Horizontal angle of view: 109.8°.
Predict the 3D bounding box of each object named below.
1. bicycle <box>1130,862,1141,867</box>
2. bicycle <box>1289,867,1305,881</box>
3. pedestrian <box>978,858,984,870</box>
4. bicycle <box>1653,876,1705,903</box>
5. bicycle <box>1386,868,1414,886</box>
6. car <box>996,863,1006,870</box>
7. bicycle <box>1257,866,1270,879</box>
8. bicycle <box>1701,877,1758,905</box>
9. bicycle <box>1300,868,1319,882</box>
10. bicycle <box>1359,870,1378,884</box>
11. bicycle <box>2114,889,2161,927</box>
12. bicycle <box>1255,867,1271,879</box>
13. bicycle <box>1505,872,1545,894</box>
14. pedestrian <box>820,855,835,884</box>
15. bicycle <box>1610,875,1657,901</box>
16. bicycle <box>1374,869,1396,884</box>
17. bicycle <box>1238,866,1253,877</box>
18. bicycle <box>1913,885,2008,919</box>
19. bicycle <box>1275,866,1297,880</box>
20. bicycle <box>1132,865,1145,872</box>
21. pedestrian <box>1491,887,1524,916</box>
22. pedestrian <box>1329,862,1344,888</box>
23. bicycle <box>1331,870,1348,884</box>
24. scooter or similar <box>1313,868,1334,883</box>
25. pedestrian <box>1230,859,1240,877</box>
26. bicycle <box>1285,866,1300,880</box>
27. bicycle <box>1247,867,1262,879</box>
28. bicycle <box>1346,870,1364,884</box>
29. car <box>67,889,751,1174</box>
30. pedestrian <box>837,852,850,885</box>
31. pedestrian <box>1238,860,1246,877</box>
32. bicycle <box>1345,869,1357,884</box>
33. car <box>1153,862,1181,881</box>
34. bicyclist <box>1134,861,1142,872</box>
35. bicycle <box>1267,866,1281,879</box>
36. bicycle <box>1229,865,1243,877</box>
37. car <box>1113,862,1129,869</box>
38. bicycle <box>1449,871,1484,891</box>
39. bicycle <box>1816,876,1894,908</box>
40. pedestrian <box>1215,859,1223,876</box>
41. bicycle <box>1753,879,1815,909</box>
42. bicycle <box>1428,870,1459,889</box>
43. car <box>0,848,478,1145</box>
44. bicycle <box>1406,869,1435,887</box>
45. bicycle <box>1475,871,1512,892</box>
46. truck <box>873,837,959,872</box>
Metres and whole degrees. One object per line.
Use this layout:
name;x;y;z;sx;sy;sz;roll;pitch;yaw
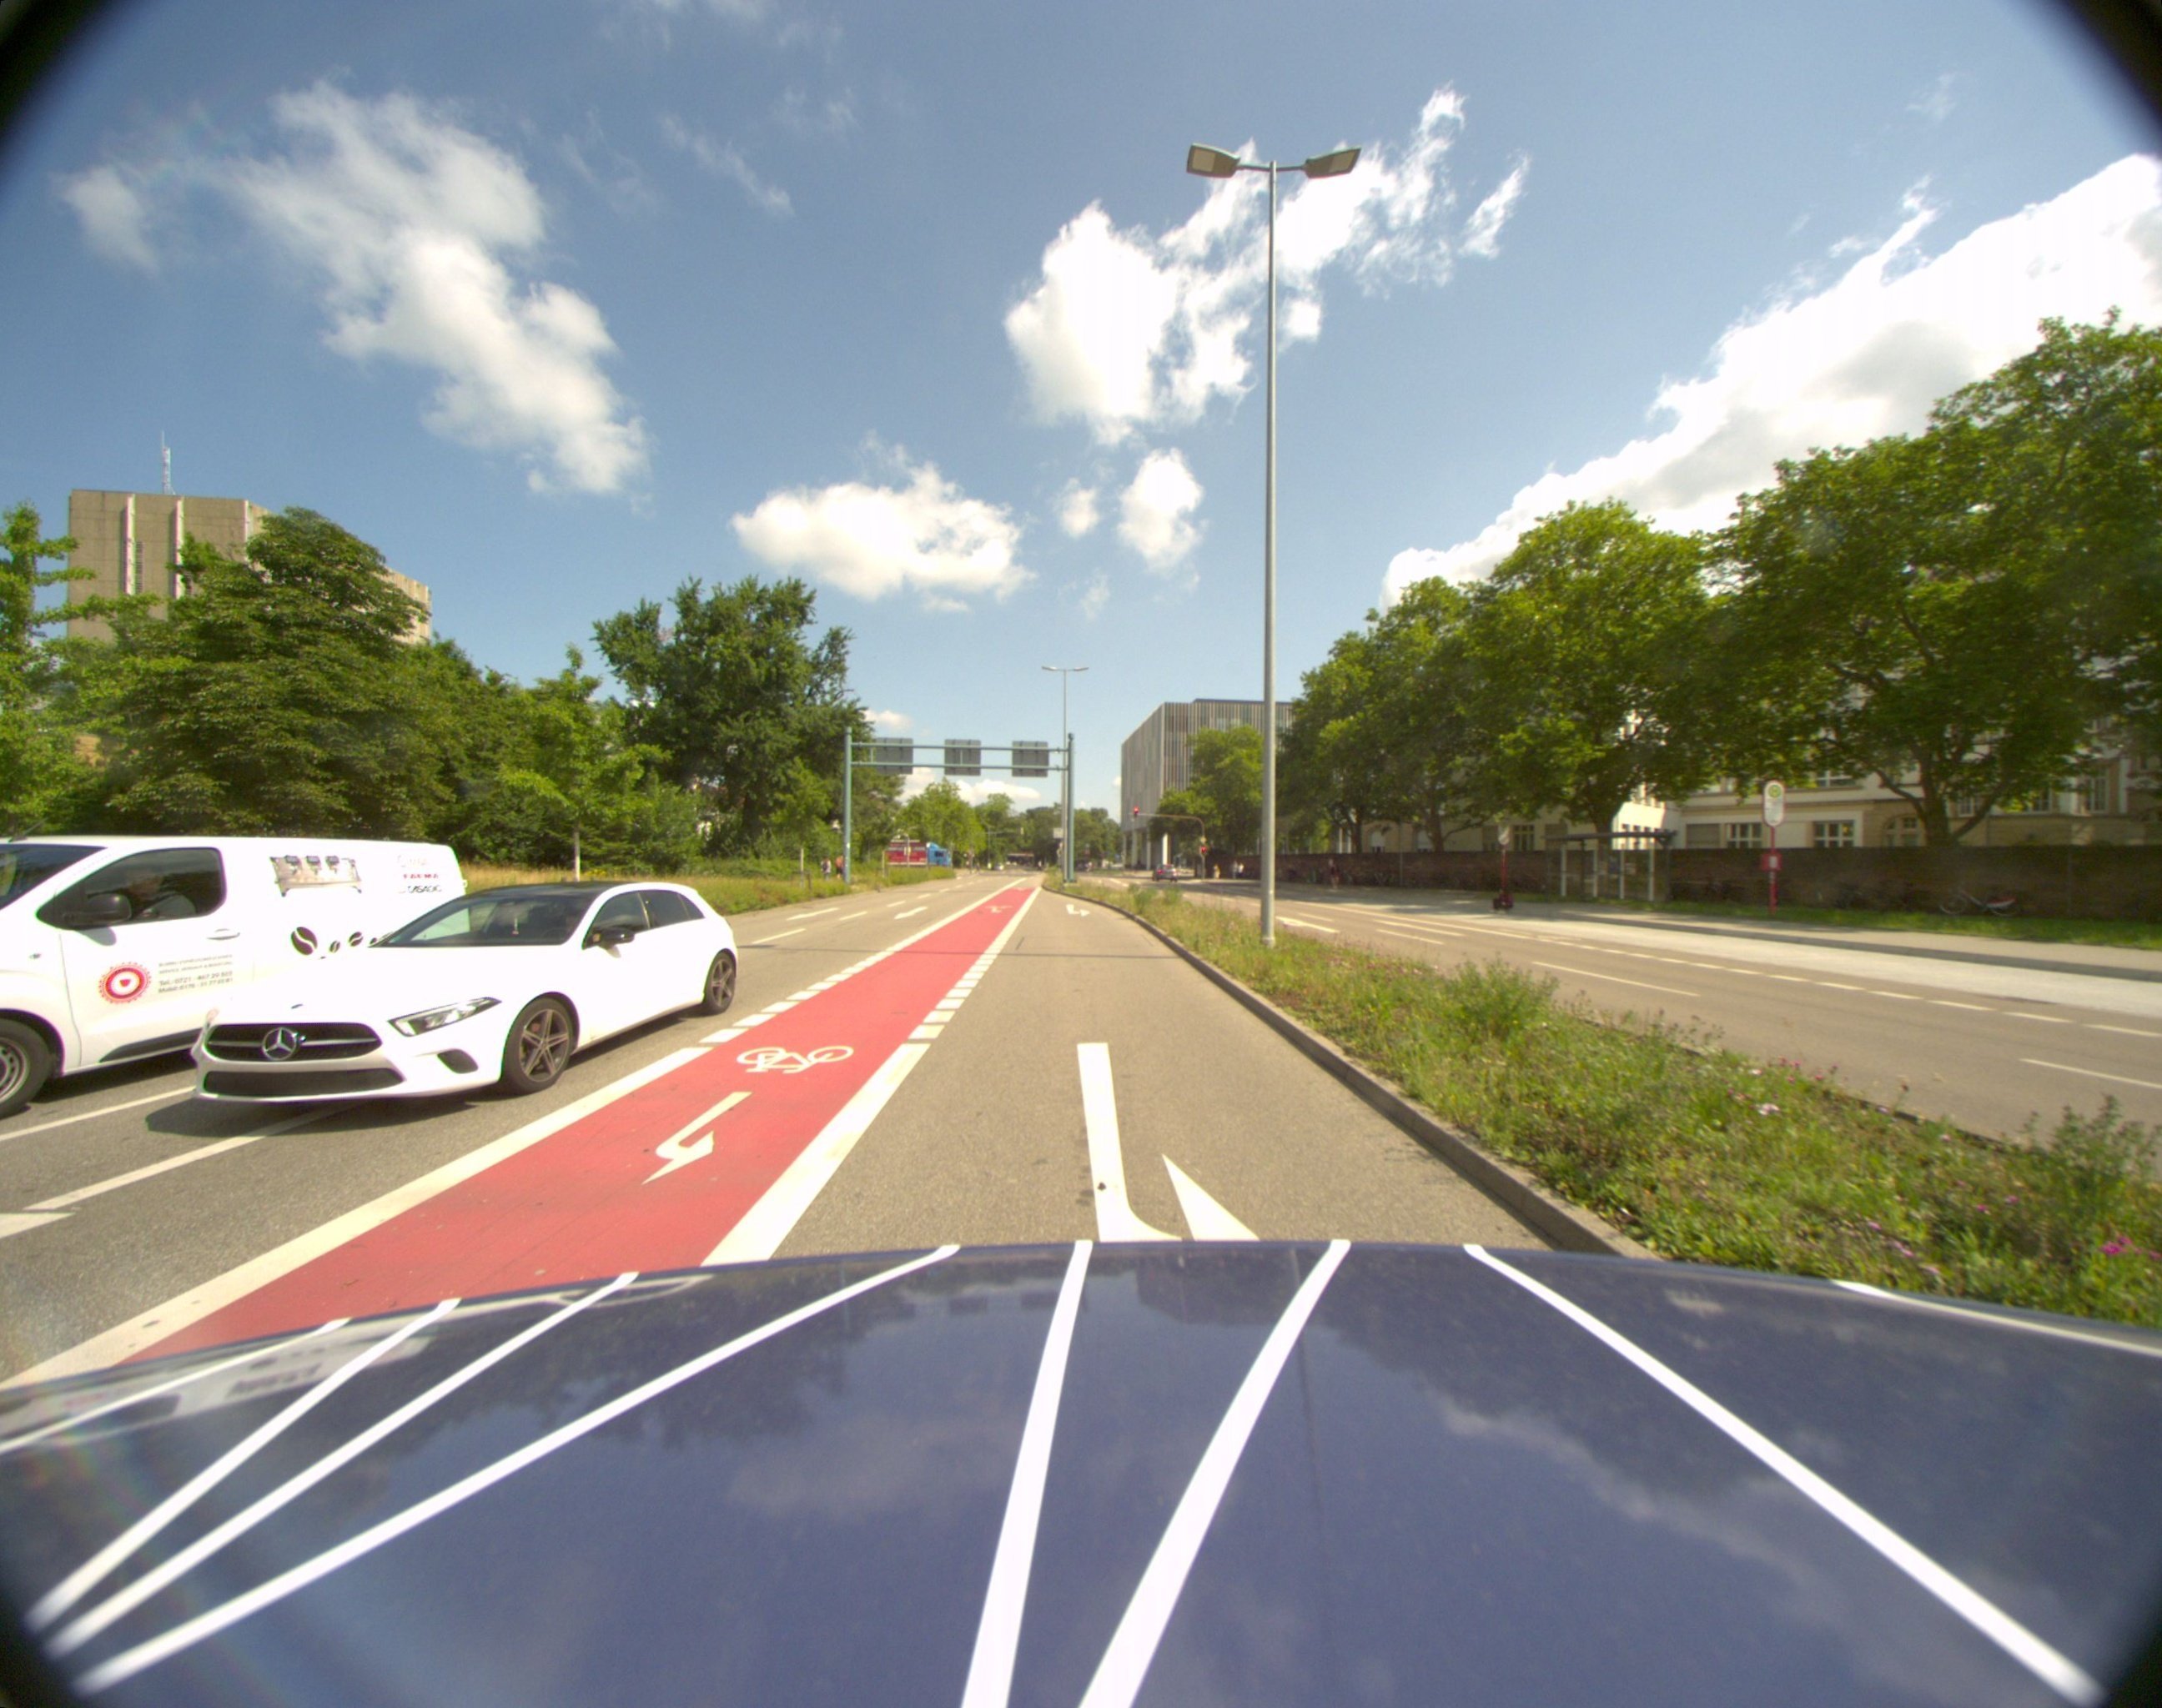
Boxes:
bicycle;11.320;2.245;158.897;2.218;1.090;0.722;1;0;-10
bicycle;16.976;1.549;59.769;0.395;1.042;1.879;0;0;-11
pedestrian;-13.870;1.437;105.349;0.741;1.640;0.639;0;0;3
bicycle;25.211;1.472;32.060;0.585;1.067;1.628;0;0;-23
bicycle;19.850;1.404;47.336;0.584;1.067;1.753;0;0;-17
car;-15.351;2.342;145.288;1.709;1.321;3.997;3;-1;-7
bicycle;15.786;1.575;65.689;0.371;1.042;1.879;0;0;-11
bicycle;25.939;1.469;30.424;0.585;1.067;1.628;0;0;-23
bicycle;17.397;1.565;57.881;0.582;1.042;1.879;0;0;-11
bicycle;19.101;1.529;50.536;0.368;0.949;1.400;0;0;-17
bicycle;30.378;1.531;21.397;0.473;1.005;1.453;0;0;-23
bicycle;15.404;1.609;64.323;0.594;1.042;1.879;0;0;-11
bicycle;22.591;1.466;38.656;0.585;1.067;1.752;0;0;-23
pedestrian;-14.011;0.835;42.029;0.624;1.571;0.708;0;0;-2
bicycle;24.517;1.486;33.744;0.585;1.067;1.628;0;0;-23
bicycle;19.524;1.440;48.776;0.371;0.949;1.624;0;0;-17
bicycle;15.134;1.612;69.829;0.632;1.042;1.879;0;0;-11
bicycle;28.616;1.542;24.765;0.473;1.005;1.960;0;0;-23
bicycle;16.641;1.544;61.616;0.594;1.042;1.877;0;0;-27
bicycle;8.017;2.033;105.743;1.771;0.887;0.639;0;0;30
pedestrian;14.560;1.619;25.942;0.696;0.957;0.743;0;0;-3
pedestrian;15.612;1.268;46.417;0.658;1.600;0.744;-1;0;-1
bicycle;18.356;1.602;53.963;0.368;0.949;1.400;0;0;-17
scooter or similar;17.866;1.564;55.995;0.582;1.042;1.879;0;0;-11
pedestrian;13.814;1.240;68.201;0.643;1.641;0.731;1;0;-7
bicycle;16.595;1.480;59.674;0.374;1.042;1.879;0;0;-11
bicycle;15.447;1.650;67.830;0.566;1.042;1.879;0;0;-11
bicycle;18.737;1.561;51.963;0.368;0.949;1.400;0;0;-17
car;-4.684;1.090;6.421;1.909;1.415;4.385;0;0;0
pedestrian;-13.176;0.806;42.170;0.568;1.791;0.638;0;0;-2
pedestrian;14.597;1.298;68.830;0.477;1.531;0.616;1;0;-7
bicycle;18.226;1.515;51.280;0.367;0.949;1.626;0;0;7
car;7.209;1.459;63.967;1.705;1.436;4.145;2;0;-2
bicyclist;7.925;1.713;105.799;0.944;1.456;0.633;0;0;29
bicycle;16.175;1.570;63.668;0.371;1.042;1.879;0;0;-11
bicycle;14.680;1.610;71.999;0.632;1.042;1.879;0;0;-11
car;10.117;2.906;192.979;3.998;1.676;1.646;0;0;-3
bicycle;21.340;1.473;42.098;0.585;1.067;1.752;0;0;-23
bicycle;27.559;1.337;27.082;0.584;1.067;1.867;0;0;-19
pedestrian;13.138;1.260;72.181;0.562;1.641;0.726;1;0;-7
bicycle;26.656;1.489;28.847;0.585;1.067;1.628;0;0;-23
bicycle;20.906;1.448;43.871;0.584;1.067;1.753;0;0;-19
car;-7.730;0.896;6.114;1.947;1.859;4.825;0;0;-1
bicycle;20.342;1.442;45.573;0.584;1.067;1.753;0;0;-17
bicycle;21.904;1.463;40.393;0.585;1.067;1.752;0;0;-23
truck;-18.464;0.059;85.639;9.188;3.777;2.664;0;0;-6
